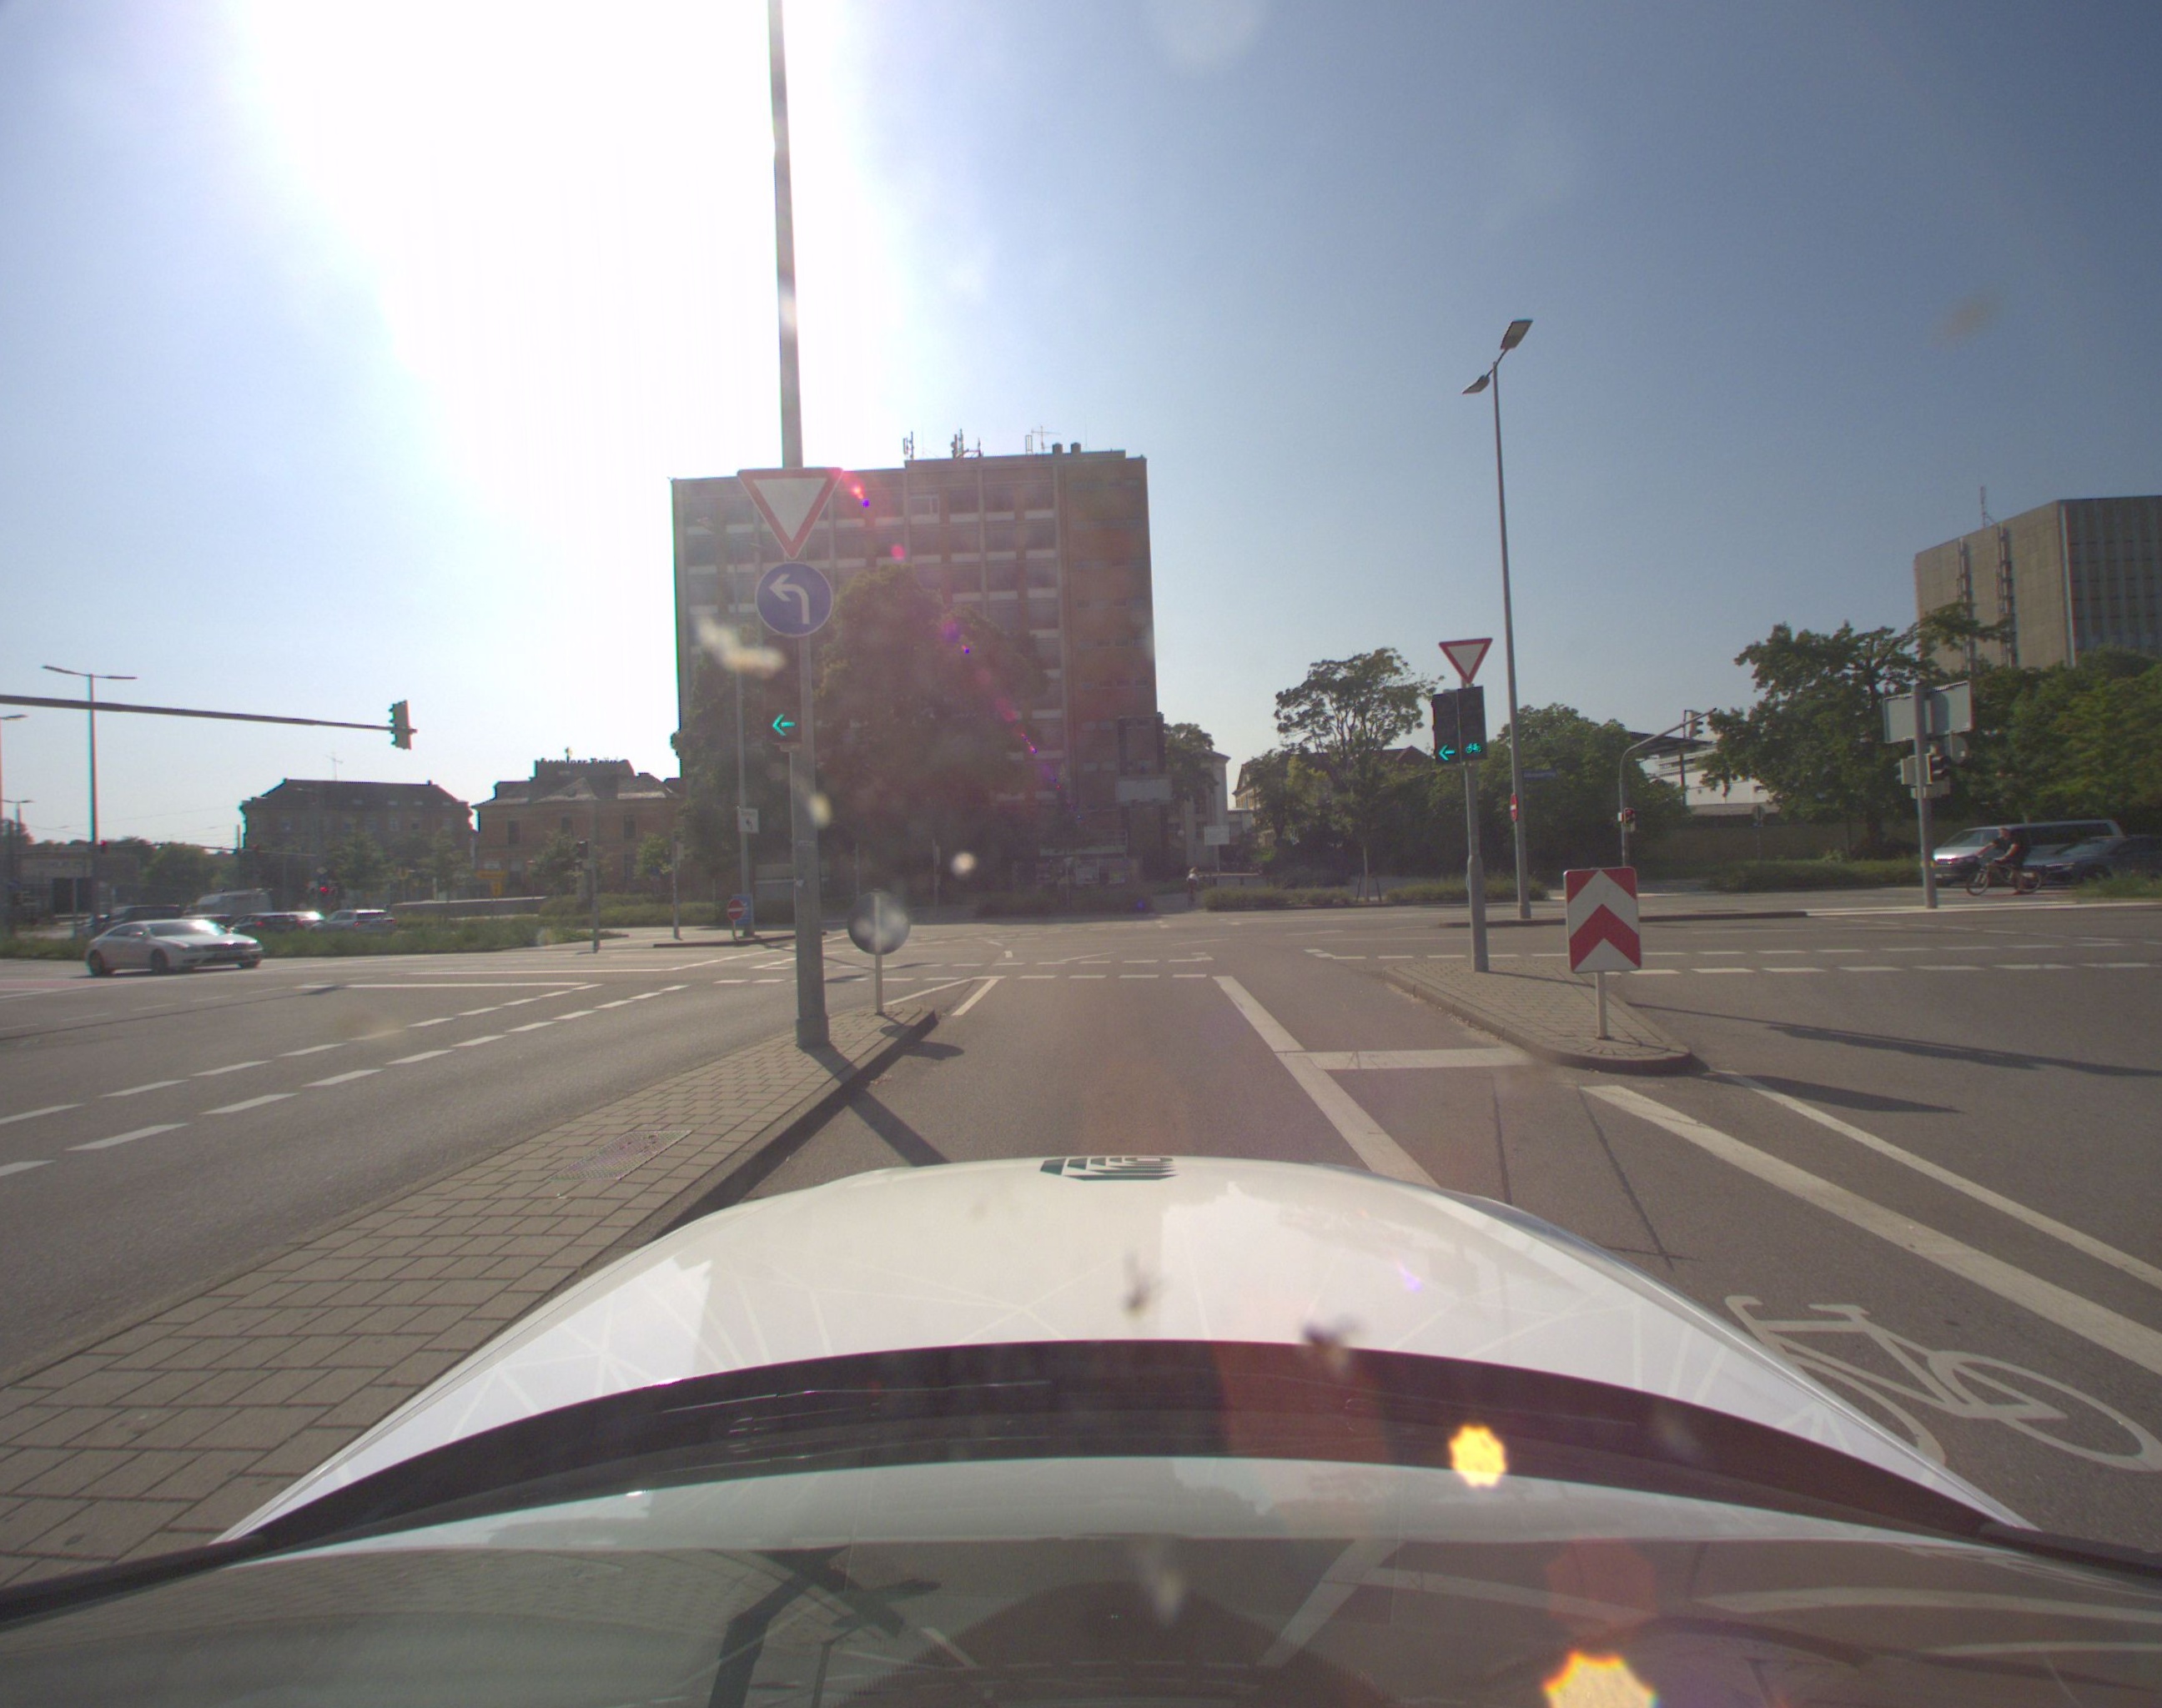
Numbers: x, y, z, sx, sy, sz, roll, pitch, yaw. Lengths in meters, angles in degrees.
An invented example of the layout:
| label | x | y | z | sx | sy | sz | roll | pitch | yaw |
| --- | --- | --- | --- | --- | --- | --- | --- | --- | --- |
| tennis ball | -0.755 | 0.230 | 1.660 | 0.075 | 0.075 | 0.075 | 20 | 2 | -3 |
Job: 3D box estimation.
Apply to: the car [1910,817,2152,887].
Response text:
| label | x | y | z | sx | sy | sz | roll | pitch | yaw |
| --- | --- | --- | --- | --- | --- | --- | --- | --- | --- |
| car | 29.862 | -0.042 | 25.770 | 4.928 | 1.875 | 1.851 | -3 | -1 | 9 |

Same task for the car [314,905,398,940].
| label | x | y | z | sx | sy | sz | roll | pitch | yaw |
| --- | --- | --- | --- | --- | --- | --- | --- | --- | --- |
| car | -33.477 | 3.156 | 37.590 | 3.588 | 1.387 | 1.700 | -4 | -2 | 27 |

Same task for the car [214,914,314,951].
| label | x | y | z | sx | sy | sz | roll | pitch | yaw |
| --- | --- | --- | --- | --- | --- | --- | --- | --- | --- |
| car | -35.269 | 3.379 | 35.152 | 3.915 | 1.368 | 1.716 | -4 | -2 | 24 |

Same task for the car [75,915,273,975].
| label | x | y | z | sx | sy | sz | roll | pitch | yaw |
| --- | --- | --- | --- | --- | --- | --- | --- | --- | --- |
| car | -24.275 | 2.432 | 21.806 | 4.763 | 1.361 | 1.857 | -3 | -1 | 20 |

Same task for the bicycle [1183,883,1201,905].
| label | x | y | z | sx | sy | sz | roll | pitch | yaw |
| --- | --- | --- | --- | --- | --- | --- | --- | --- | --- |
| bicycle | 4.767 | 1.699 | 34.969 | 0.669 | 0.879 | 1.405 | -3 | -1 | 10 |

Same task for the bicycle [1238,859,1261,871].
| label | x | y | z | sx | sy | sz | roll | pitch | yaw |
| --- | --- | --- | --- | --- | --- | --- | --- | --- | --- |
| bicycle | 17.867 | 1.141 | 86.360 | 2.414 | 1.229 | 0.721 | -1 | -1 | 6 |

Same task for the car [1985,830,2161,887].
| label | x | y | z | sx | sy | sz | roll | pitch | yaw |
| --- | --- | --- | --- | --- | --- | --- | --- | --- | --- |
| car | 29.179 | 0.094 | 22.899 | 4.875 | 1.401 | 1.916 | -3 | -1 | 9 |

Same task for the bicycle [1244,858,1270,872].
| label | x | y | z | sx | sy | sz | roll | pitch | yaw |
| --- | --- | --- | --- | --- | --- | --- | --- | --- | --- |
| bicycle | 16.990 | 1.053 | 78.736 | 2.414 | 1.318 | 0.721 | -1 | -1 | 6 |

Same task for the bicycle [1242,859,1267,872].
| label | x | y | z | sx | sy | sz | roll | pitch | yaw |
| --- | --- | --- | --- | --- | --- | --- | --- | --- | --- |
| bicycle | 17.319 | 1.131 | 81.262 | 2.414 | 1.223 | 0.721 | -1 | -1 | 6 |

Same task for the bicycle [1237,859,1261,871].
| label | x | y | z | sx | sy | sz | roll | pitch | yaw |
| --- | --- | --- | --- | --- | --- | --- | --- | --- | --- |
| bicycle | 17.607 | 1.181 | 85.328 | 2.414 | 1.239 | 0.721 | -1 | -1 | 6 |

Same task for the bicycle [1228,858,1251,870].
| label | x | y | z | sx | sy | sz | roll | pitch | yaw |
| --- | --- | --- | --- | --- | --- | --- | --- | --- | --- |
| bicycle | 17.357 | 1.137 | 89.201 | 2.414 | 1.282 | 0.721 | -1 | -1 | 6 |

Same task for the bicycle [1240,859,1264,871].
| label | x | y | z | sx | sy | sz | roll | pitch | yaw |
| --- | --- | --- | --- | --- | --- | --- | --- | --- | --- |
| bicycle | 17.698 | 1.167 | 84.380 | 2.414 | 1.234 | 0.721 | -1 | -1 | 6 |

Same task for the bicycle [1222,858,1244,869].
| label | x | y | z | sx | sy | sz | roll | pitch | yaw |
| --- | --- | --- | --- | --- | --- | --- | --- | --- | --- |
| bicycle | 18.097 | 1.172 | 96.977 | 2.414 | 1.280 | 0.721 | -1 | -1 | 6 |

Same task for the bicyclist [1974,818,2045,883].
| label | x | y | z | sx | sy | sz | roll | pitch | yaw |
| --- | --- | --- | --- | --- | --- | --- | --- | --- | --- |
| bicyclist | 24.180 | -0.087 | 21.225 | 0.868 | 1.635 | 0.750 | -3 | -1 | 7 |

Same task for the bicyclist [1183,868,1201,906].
| label | x | y | z | sx | sy | sz | roll | pitch | yaw |
| --- | --- | --- | --- | --- | --- | --- | --- | --- | --- |
| bicyclist | 4.774 | 1.409 | 35.086 | 0.646 | 1.601 | 0.922 | -3 | -1 | 10 |

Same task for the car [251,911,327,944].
| label | x | y | z | sx | sy | sz | roll | pitch | yaw |
| --- | --- | --- | --- | --- | --- | --- | --- | --- | --- |
| car | -39.248 | 3.652 | 40.335 | 3.892 | 1.403 | 1.503 | -4 | -2 | 27 |

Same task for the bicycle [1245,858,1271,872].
| label | x | y | z | sx | sy | sz | roll | pitch | yaw |
| --- | --- | --- | --- | --- | --- | --- | --- | --- | --- |
| bicycle | 16.869 | 1.063 | 77.604 | 2.414 | 1.318 | 0.721 | -1 | -1 | 6 |

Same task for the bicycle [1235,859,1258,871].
| label | x | y | z | sx | sy | sz | roll | pitch | yaw |
| --- | --- | --- | --- | --- | --- | --- | --- | --- | --- |
| bicycle | 17.848 | 1.194 | 87.949 | 2.414 | 1.282 | 0.721 | -1 | -1 | 6 |

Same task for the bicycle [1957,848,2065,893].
| label | x | y | z | sx | sy | sz | roll | pitch | yaw |
| --- | --- | --- | --- | --- | --- | --- | --- | --- | --- |
| bicycle | 24.201 | 0.419 | 21.219 | 1.760 | 1.052 | 0.771 | -3 | -1 | 6 |

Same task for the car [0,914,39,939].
| label | x | y | z | sx | sy | sz | roll | pitch | yaw |
| --- | --- | --- | --- | --- | --- | --- | --- | --- | --- |
| car | -96.518 | 6.559 | 72.536 | 1.979 | 2.014 | 4.016 | -3 | -1 | 14 |

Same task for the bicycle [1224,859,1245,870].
| label | x | y | z | sx | sy | sz | roll | pitch | yaw |
| --- | --- | --- | --- | --- | --- | --- | --- | --- | --- |
| bicycle | 18.074 | 1.200 | 96.056 | 2.414 | 1.262 | 0.721 | -1 | -1 | 6 |

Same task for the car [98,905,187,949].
| label | x | y | z | sx | sy | sz | roll | pitch | yaw |
| --- | --- | --- | --- | --- | --- | --- | --- | --- | --- |
| car | -47.257 | 3.685 | 41.005 | 4.623 | 2.008 | 2.042 | -4 | -2 | 29 |

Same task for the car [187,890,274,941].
| label | x | y | z | sx | sy | sz | roll | pitch | yaw |
| --- | --- | --- | --- | --- | --- | --- | --- | --- | --- |
| car | -46.888 | 3.409 | 44.887 | 4.623 | 2.549 | 2.209 | -4 | -2 | 29 |
